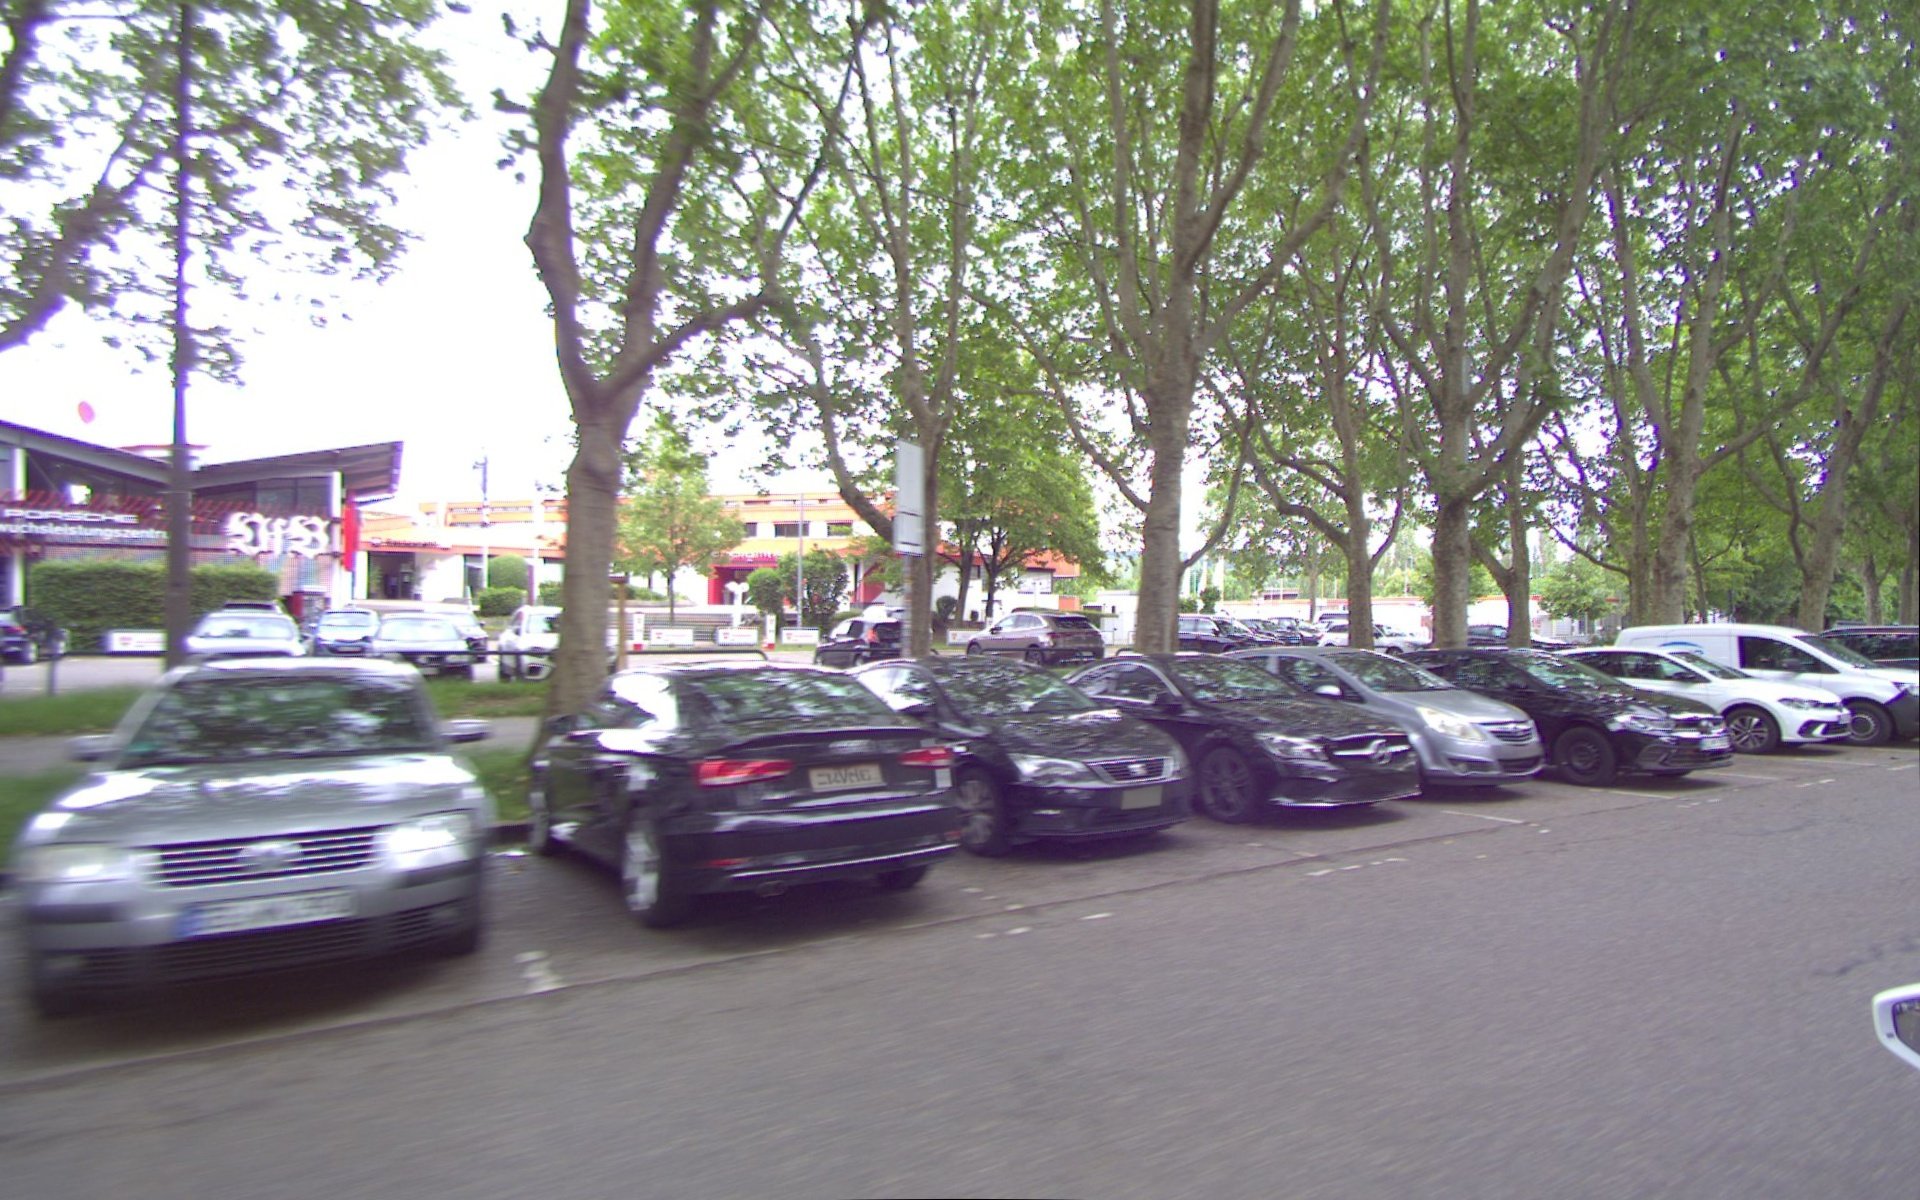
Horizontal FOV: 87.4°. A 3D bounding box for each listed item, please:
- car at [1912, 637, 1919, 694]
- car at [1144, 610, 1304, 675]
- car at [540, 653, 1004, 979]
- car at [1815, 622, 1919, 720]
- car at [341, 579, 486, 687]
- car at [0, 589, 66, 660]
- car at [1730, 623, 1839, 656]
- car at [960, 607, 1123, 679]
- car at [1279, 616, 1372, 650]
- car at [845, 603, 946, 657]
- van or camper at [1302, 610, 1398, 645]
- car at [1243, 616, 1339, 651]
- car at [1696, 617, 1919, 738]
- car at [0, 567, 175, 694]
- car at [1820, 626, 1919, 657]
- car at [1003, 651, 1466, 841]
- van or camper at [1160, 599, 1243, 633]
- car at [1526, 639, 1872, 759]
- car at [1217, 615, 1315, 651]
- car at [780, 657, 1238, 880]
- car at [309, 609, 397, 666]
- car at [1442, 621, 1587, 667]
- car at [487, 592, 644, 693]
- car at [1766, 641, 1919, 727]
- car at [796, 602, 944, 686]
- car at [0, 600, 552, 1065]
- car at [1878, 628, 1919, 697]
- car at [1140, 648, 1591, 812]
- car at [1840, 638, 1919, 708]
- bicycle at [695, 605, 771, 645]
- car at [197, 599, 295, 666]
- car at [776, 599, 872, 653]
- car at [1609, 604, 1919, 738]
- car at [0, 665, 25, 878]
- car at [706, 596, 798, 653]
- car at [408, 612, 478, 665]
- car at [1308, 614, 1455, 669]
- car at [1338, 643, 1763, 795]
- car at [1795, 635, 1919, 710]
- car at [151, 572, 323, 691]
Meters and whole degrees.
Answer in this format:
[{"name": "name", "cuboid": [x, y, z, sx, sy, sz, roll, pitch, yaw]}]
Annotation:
[{"name": "car", "cuboid": [25.652, 1.658, 23.938, 1.840, 1.424, 3.968, 2, -1, -30]}, {"name": "car", "cuboid": [8.066, 1.266, 31.123, 2.270, 1.785, 4.495, 2, -1, -31]}, {"name": "car", "cuboid": [-1.519, 1.086, 6.656, 1.685, 1.416, 3.909, 1, -3, -33]}, {"name": "car", "cuboid": [19.147, 1.326, 18.884, 1.845, 1.834, 4.298, 1, -3, -30]}, {"name": "car", "cuboid": [-10.787, 0.576, 19.635, 2.159, 1.821, 4.914, 2, -1, -32]}, {"name": "car", "cuboid": [-23.672, 0.556, 24.671, 1.979, 1.647, 3.962, 2, -1, -34]}, {"name": "car", "cuboid": [42.959, 2.032, 52.396, 1.978, 1.543, 3.969, 2, -1, -29]}, {"name": "car", "cuboid": [2.140, 1.125, 27.646, 2.270, 1.748, 4.529, 2, -1, -31]}, {"name": "car", "cuboid": [18.378, 1.649, 50.661, 1.770, 1.569, 4.195, 2, -1, -31]}, {"name": "car", "cuboid": [-2.485, 1.071, 37.676, 2.265, 1.880, 4.565, 2, -1, -25]}, {"name": "van or camper", "cuboid": [20.224, 1.409, 52.241, 2.107, 1.732, 4.299, 2, -1, -31]}, {"name": "car", "cuboid": [16.299, 1.638, 49.701, 1.937, 1.569, 4.299, 2, -1, -31]}, {"name": "car", "cuboid": [15.256, 1.255, 16.822, 2.012, 1.819, 4.297, 2, -1, -30]}, {"name": "car", "cuboid": [-14.744, 0.441, 16.662, 2.159, 1.821, 4.914, 2, -1, -32]}, {"name": "car", "cuboid": [53.014, 2.387, 58.007, 2.082, 1.588, 4.608, 3, -1, -27]}, {"name": "car", "cuboid": [2.354, 1.207, 9.914, 1.878, 1.365, 4.446, 1, -3, -28]}, {"name": "van or camper", "cuboid": [15.247, 1.000, 63.302, 5.243, 2.040, 1.983, 2, -1, -32]}, {"name": "car", "cuboid": [10.589, 1.337, 14.601, 1.751, 1.491, 3.751, 1, -3, -40]}, {"name": "car", "cuboid": [14.489, 1.534, 47.825, 1.937, 1.569, 4.299, 2, -1, -31]}, {"name": "car", "cuboid": [0.099, 1.205, 8.776, 1.839, 1.384, 4.441, 1, -3, -31]}, {"name": "car", "cuboid": [-17.075, 1.025, 28.278, 1.978, 1.446, 3.965, 2, -1, -32]}, {"name": "car", "cuboid": [20.922, 1.635, 38.071, 2.178, 1.569, 4.299, 2, -1, -31]}, {"name": "car", "cuboid": [-8.284, 0.811, 20.801, 2.159, 1.820, 4.914, 1, -1, -32]}, {"name": "car", "cuboid": [17.367, 1.473, 17.983, 1.988, 1.471, 4.114, 1, -4, -28]}, {"name": "car", "cuboid": [-2.341, 1.025, 25.008, 2.005, 1.885, 4.299, 2, -1, -31]}, {"name": "car", "cuboid": [-3.551, 0.849, 5.606, 1.684, 1.501, 4.441, 1, -3, -31]}, {"name": "car", "cuboid": [23.486, 1.377, 22.274, 1.887, 1.568, 4.242, 2, -4, -32]}, {"name": "car", "cuboid": [4.161, 1.239, 11.121, 1.858, 1.387, 4.442, 1, -3, -30]}, {"name": "car", "cuboid": [21.244, 1.569, 20.967, 1.864, 1.423, 3.966, 2, -1, -31]}, {"name": "bicycle", "cuboid": [-9.101, 1.009, 40.256, 2.769, 1.560, 1.044, 2, -1, -31]}, {"name": "car", "cuboid": [-19.241, 0.831, 27.214, 1.979, 1.647, 3.962, 2, -1, -34]}, {"name": "car", "cuboid": [-5.119, 0.925, 37.297, 2.265, 1.880, 4.565, 2, -1, -25]}, {"name": "car", "cuboid": [12.990, 1.068, 15.781, 1.848, 1.834, 4.292, 1, -3, -33]}, {"name": "car", "cuboid": [-6.265, 1.051, 4.818, 1.806, 1.382, 3.911, 1, -3, -31]}, {"name": "car", "cuboid": [-7.560, 0.851, 36.188, 2.265, 1.880, 4.565, 2, -1, -25]}, {"name": "car", "cuboid": [-15.146, 1.095, 29.346, 1.489, 1.390, 3.965, 2, -1, -32]}, {"name": "car", "cuboid": [14.515, 1.387, 34.789, 2.107, 1.732, 4.299, 2, -1, -31]}, {"name": "car", "cuboid": [6.591, 1.249, 11.717, 1.733, 1.439, 3.965, 1, -3, -27]}, {"name": "car", "cuboid": [19.227, 1.449, 19.562, 1.946, 1.372, 4.166, 2, -1, -32]}, {"name": "car", "cuboid": [-12.802, 0.507, 18.110, 2.159, 1.821, 4.914, 2, -1, -32]}]
